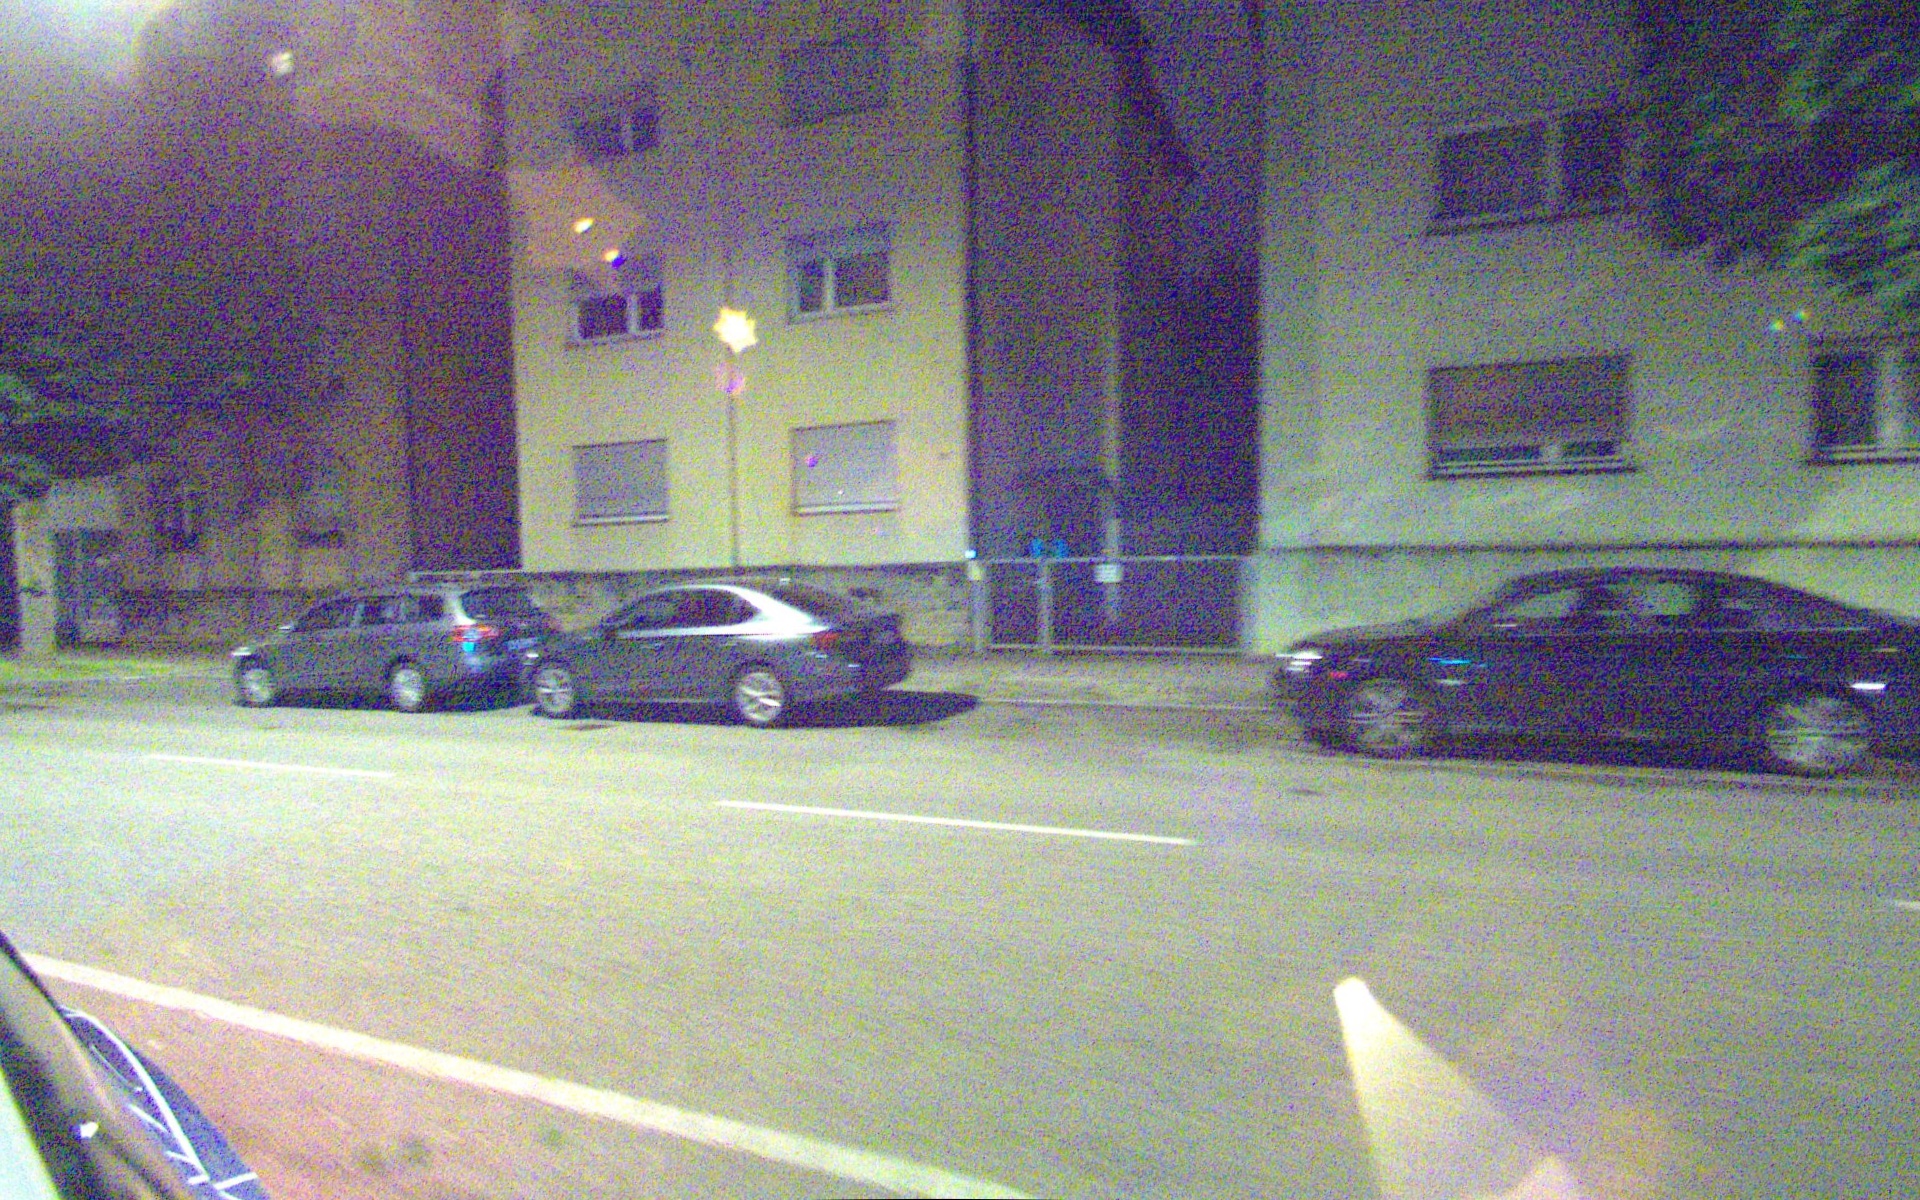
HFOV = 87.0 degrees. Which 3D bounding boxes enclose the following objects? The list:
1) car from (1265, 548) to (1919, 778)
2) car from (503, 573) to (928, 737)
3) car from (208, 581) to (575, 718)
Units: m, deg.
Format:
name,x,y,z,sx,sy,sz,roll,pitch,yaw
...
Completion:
name,x,y,z,sx,sy,sz,roll,pitch,yaw
car,4.746,0.389,7.985,4.371,1.444,1.854,-1,3,21
car,-2.644,0.515,10.864,4.318,1.444,1.545,-1,4,22
car,-7.202,0.562,12.819,4.319,1.444,1.633,-1,4,21
